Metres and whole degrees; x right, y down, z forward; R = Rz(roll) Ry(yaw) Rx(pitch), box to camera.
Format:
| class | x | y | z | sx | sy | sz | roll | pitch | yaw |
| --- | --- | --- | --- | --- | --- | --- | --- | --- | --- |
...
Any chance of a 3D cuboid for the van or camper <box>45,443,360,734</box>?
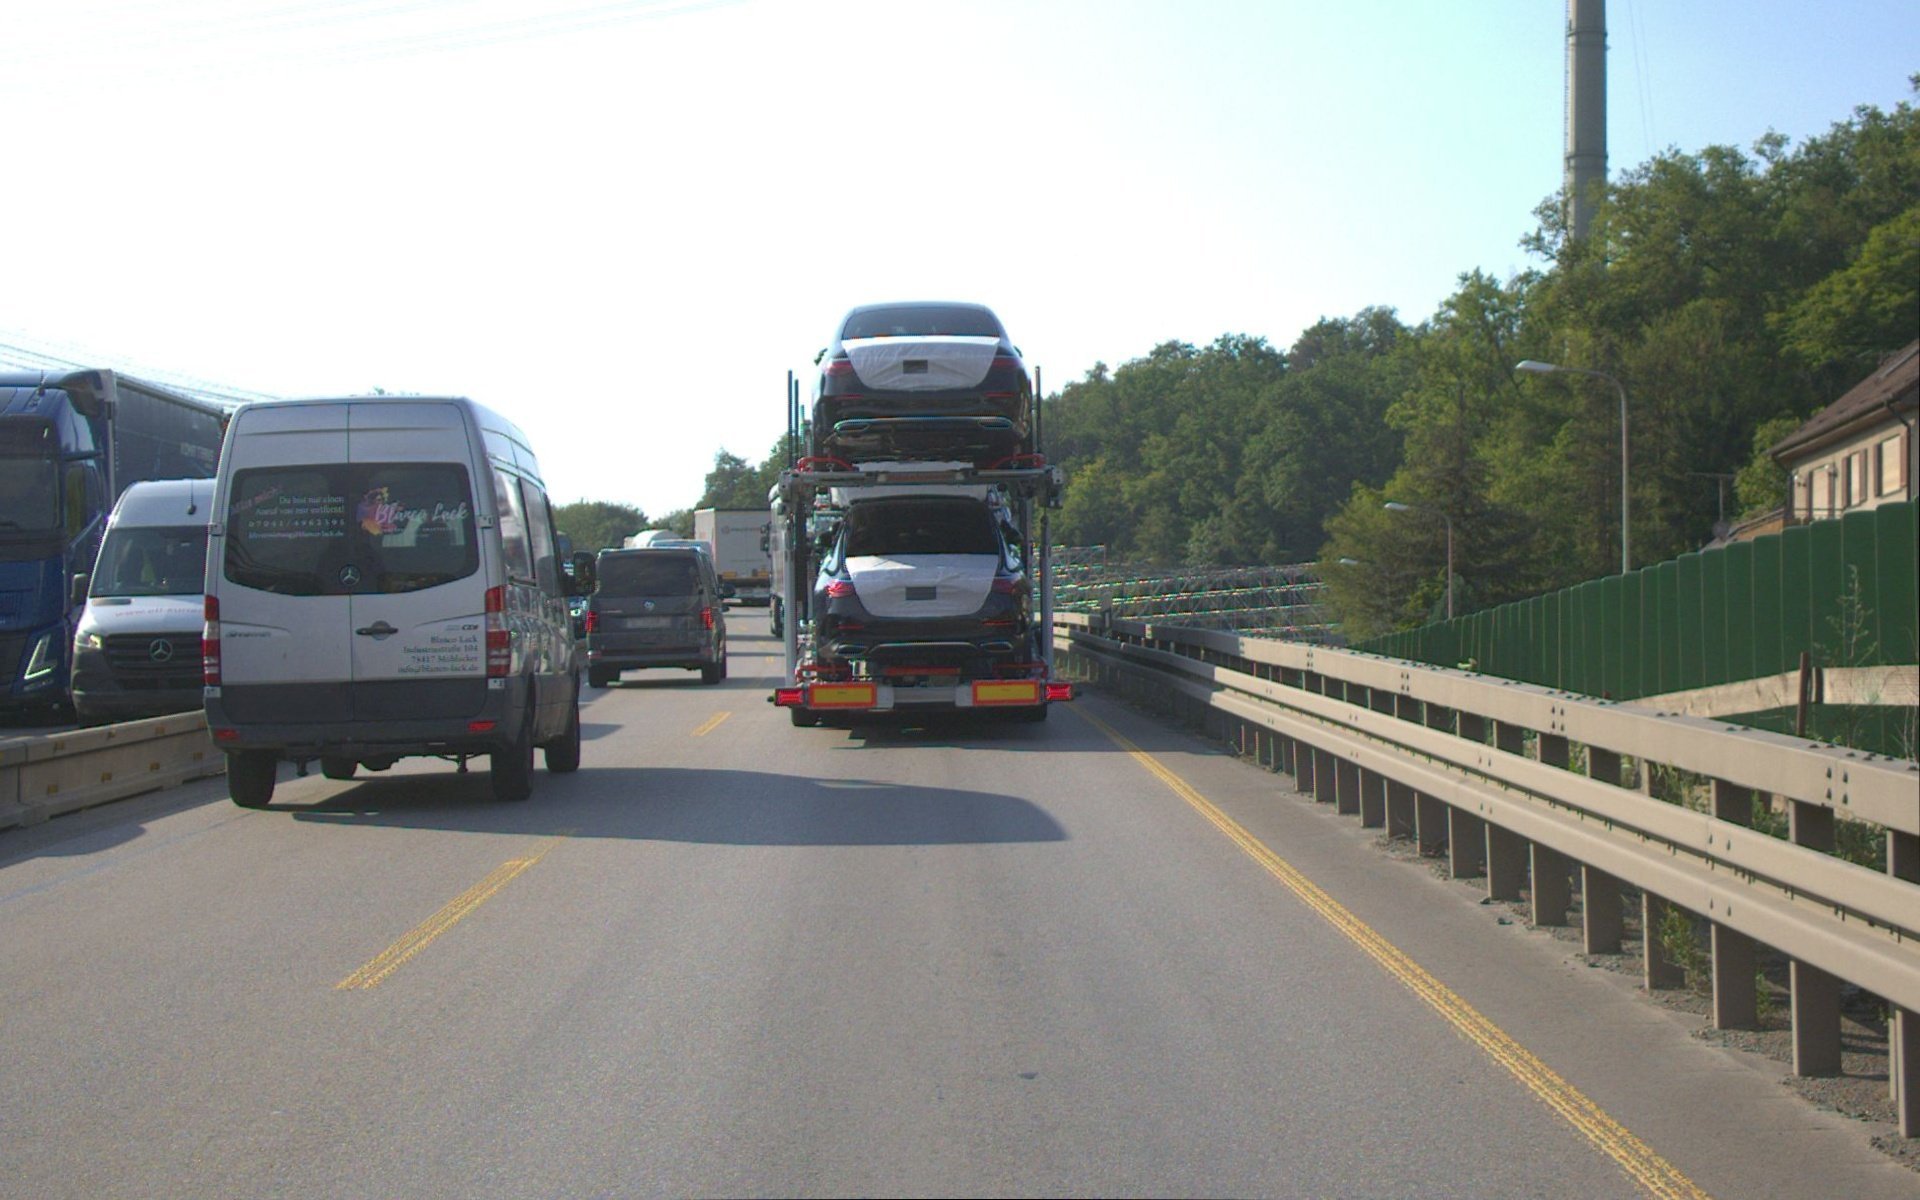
| class | x | y | z | sx | sy | sz | roll | pitch | yaw |
| --- | --- | --- | --- | --- | --- | --- | --- | --- | --- |
| van or camper | -7.668 | -0.126 | 35.423 | 1.993 | 2.697 | 5.957 | -1 | 0 | -1 |

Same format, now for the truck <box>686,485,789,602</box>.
| class | x | y | z | sx | sy | sz | roll | pitch | yaw |
| --- | --- | --- | --- | --- | --- | --- | --- | --- | --- |
| truck | -9.390 | -2.296 | 144.363 | 4.064 | 4.663 | 10.593 | 1 | 0 | -4 |

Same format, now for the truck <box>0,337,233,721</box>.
| class | x | y | z | sx | sy | sz | roll | pitch | yaw |
| --- | --- | --- | --- | --- | --- | --- | --- | --- | --- |
| truck | -11.032 | -0.770 | 41.629 | 2.624 | 4.098 | 9.628 | -1 | 0 | -2 |

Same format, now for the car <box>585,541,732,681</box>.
| class | x | y | z | sx | sy | sz | roll | pitch | yaw |
| --- | --- | --- | --- | --- | --- | --- | --- | --- | --- |
| car | -4.380 | 0.187 | 50.435 | 1.808 | 1.897 | 4.000 | 2 | -1 | -1 |

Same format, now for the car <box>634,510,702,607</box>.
| class | x | y | z | sx | sy | sz | roll | pitch | yaw |
| --- | --- | --- | --- | --- | --- | --- | --- | --- | --- |
| car | -15.912 | -2.238 | 187.694 | 3.444 | 5.018 | 9.654 | 2 | 0 | -4 |

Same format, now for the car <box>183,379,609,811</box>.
| class | x | y | z | sx | sy | sz | roll | pitch | yaw |
| --- | --- | --- | --- | --- | --- | --- | --- | --- | --- |
| car | -3.771 | -0.040 | 24.019 | 1.993 | 2.639 | 5.530 | 1 | 0 | 0 |

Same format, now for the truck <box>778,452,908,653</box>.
| class | x | y | z | sx | sy | sz | roll | pitch | yaw |
| --- | --- | --- | --- | --- | --- | --- | --- | --- | --- |
| truck | -2.859 | -1.098 | 82.992 | 2.907 | 4.591 | 7.286 | 1 | 0 | -3 |

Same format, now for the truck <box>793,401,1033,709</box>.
| class | x | y | z | sx | sy | sz | roll | pitch | yaw |
| --- | --- | --- | --- | --- | --- | --- | --- | --- | --- |
| truck | -0.583 | -0.495 | 43.939 | 2.682 | 3.523 | 7.193 | 2 | -1 | 0 |

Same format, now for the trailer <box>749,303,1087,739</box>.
| class | x | y | z | sx | sy | sz | roll | pitch | yaw |
| --- | --- | --- | --- | --- | --- | --- | --- | --- | --- |
| trailer | -0.426 | -0.587 | 36.176 | 2.682 | 3.523 | 15.288 | 2 | -1 | -1 |

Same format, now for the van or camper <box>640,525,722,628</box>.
| class | x | y | z | sx | sy | sz | roll | pitch | yaw |
| --- | --- | --- | --- | --- | --- | --- | --- | --- | --- |
| van or camper | -7.413 | -0.599 | 91.679 | 1.968 | 2.583 | 5.042 | 2 | -1 | -3 |

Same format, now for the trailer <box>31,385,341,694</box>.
| class | x | y | z | sx | sy | sz | roll | pitch | yaw |
| --- | --- | --- | --- | --- | --- | --- | --- | --- | --- |
| trailer | -11.329 | -0.876 | 51.285 | 2.605 | 4.098 | 9.628 | -2 | 1 | -2 |
